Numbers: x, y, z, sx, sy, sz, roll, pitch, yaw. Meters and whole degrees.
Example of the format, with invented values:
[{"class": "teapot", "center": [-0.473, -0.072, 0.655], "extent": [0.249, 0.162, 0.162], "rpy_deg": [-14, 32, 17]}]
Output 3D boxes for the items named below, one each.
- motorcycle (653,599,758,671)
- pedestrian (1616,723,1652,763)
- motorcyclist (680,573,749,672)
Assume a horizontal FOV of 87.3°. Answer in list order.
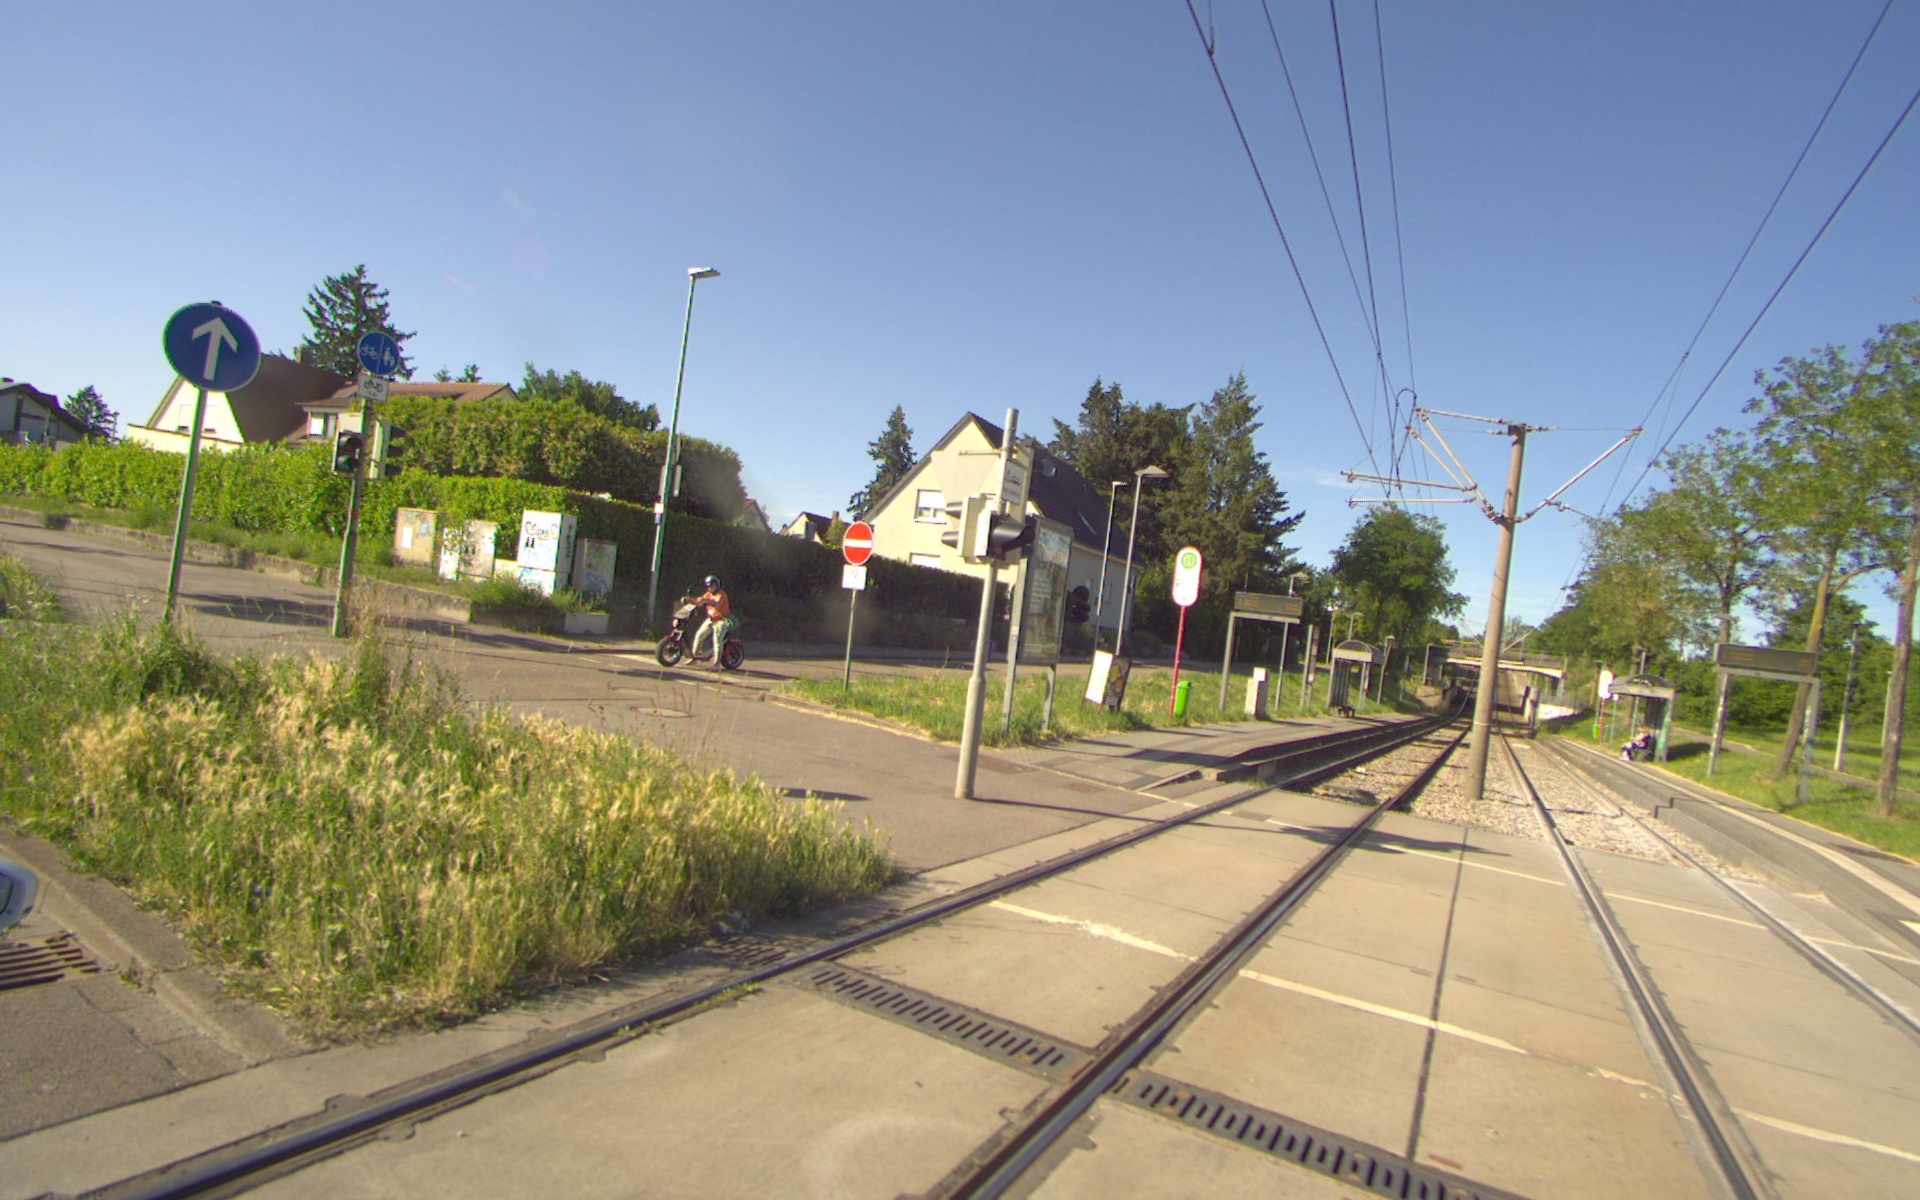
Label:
[{"class": "motorcycle", "center": [-4.299, 0.609, 17.096], "extent": [0.444, 1.084, 1.757], "rpy_deg": [8, 0, 35]}, {"class": "pedestrian", "center": [23.385, 4.942, 34.921], "extent": [0.925, 1.257, 0.560], "rpy_deg": [4, -2, 32]}, {"class": "motorcyclist", "center": [-4.189, 0.384, 17.205], "extent": [0.689, 1.577, 0.693], "rpy_deg": [8, 1, 35]}]
